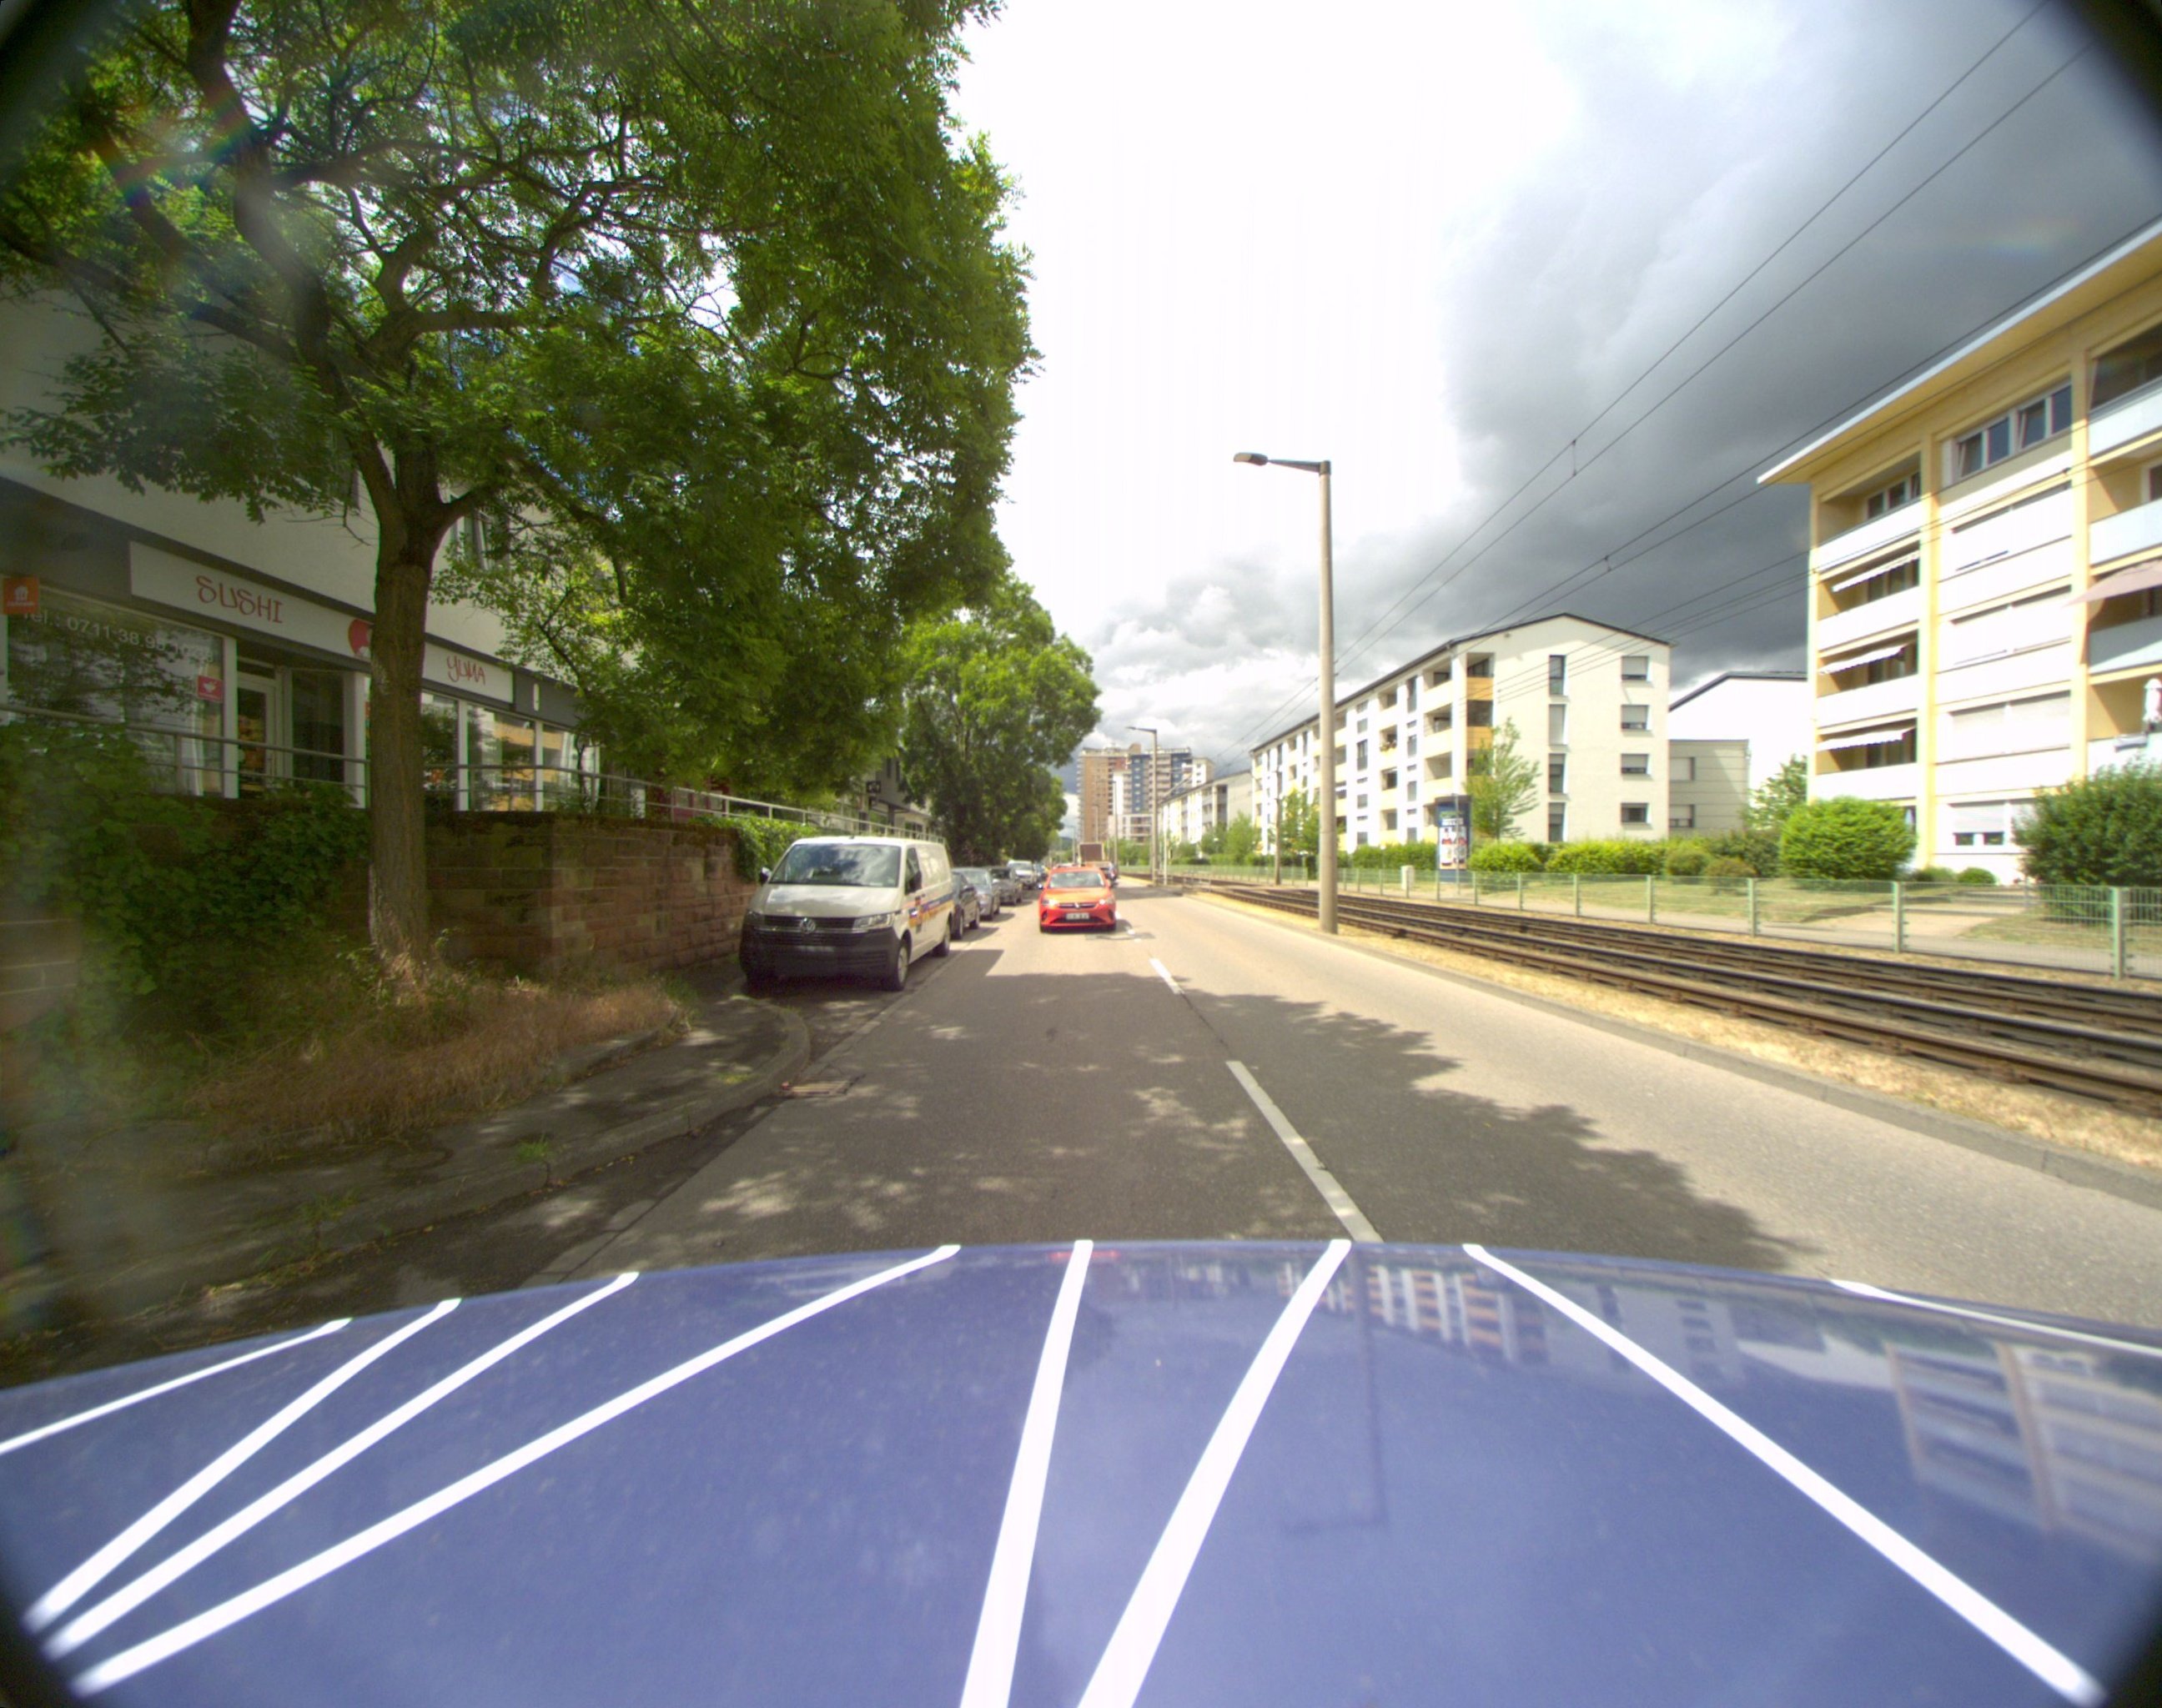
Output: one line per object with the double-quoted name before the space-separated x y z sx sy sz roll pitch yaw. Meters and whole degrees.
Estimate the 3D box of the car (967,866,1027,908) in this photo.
"car" -3.111 1.187 28.951 1.784 1.420 4.147 -1 0 1

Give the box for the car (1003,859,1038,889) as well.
"car" -3.458 1.114 44.265 1.819 1.643 4.146 -1 0 -2

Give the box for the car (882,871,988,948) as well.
"car" -3.091 1.132 16.810 1.578 1.420 3.735 -1 0 1

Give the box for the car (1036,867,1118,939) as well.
"car" -0.034 1.083 18.179 1.723 1.434 4.000 -1 0 1

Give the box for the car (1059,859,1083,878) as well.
"car" -0.866 1.237 65.554 1.927 1.543 3.999 -2 0 -2

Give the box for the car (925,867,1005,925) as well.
"car" -3.227 1.130 21.906 1.785 1.420 4.144 2 0 -2

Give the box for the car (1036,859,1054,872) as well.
"car" -3.989 1.255 85.378 1.784 1.420 4.147 -1 0 1

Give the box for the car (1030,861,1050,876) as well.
"car" -4.167 1.460 78.197 1.784 1.420 4.147 -1 0 1

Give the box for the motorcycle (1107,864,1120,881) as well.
"motorcycle" 2.288 1.330 54.303 0.783 1.181 1.869 -1 0 -1

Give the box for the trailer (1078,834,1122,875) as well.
"trailer" 1.613 0.074 71.806 2.876 3.428 14.611 -2 0 -3

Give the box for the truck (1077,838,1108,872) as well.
"truck" 1.153 0.113 80.227 2.853 3.428 4.414 -2 0 -3

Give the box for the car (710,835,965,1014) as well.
"car" -3.078 0.794 10.915 1.978 1.958 5.013 -1 0 1

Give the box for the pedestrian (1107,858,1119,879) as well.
"pedestrian" 2.275 1.034 54.296 0.737 1.408 0.927 -2 0 -1

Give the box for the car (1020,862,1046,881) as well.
"car" -3.850 1.374 61.141 1.784 1.420 4.147 -1 0 1
